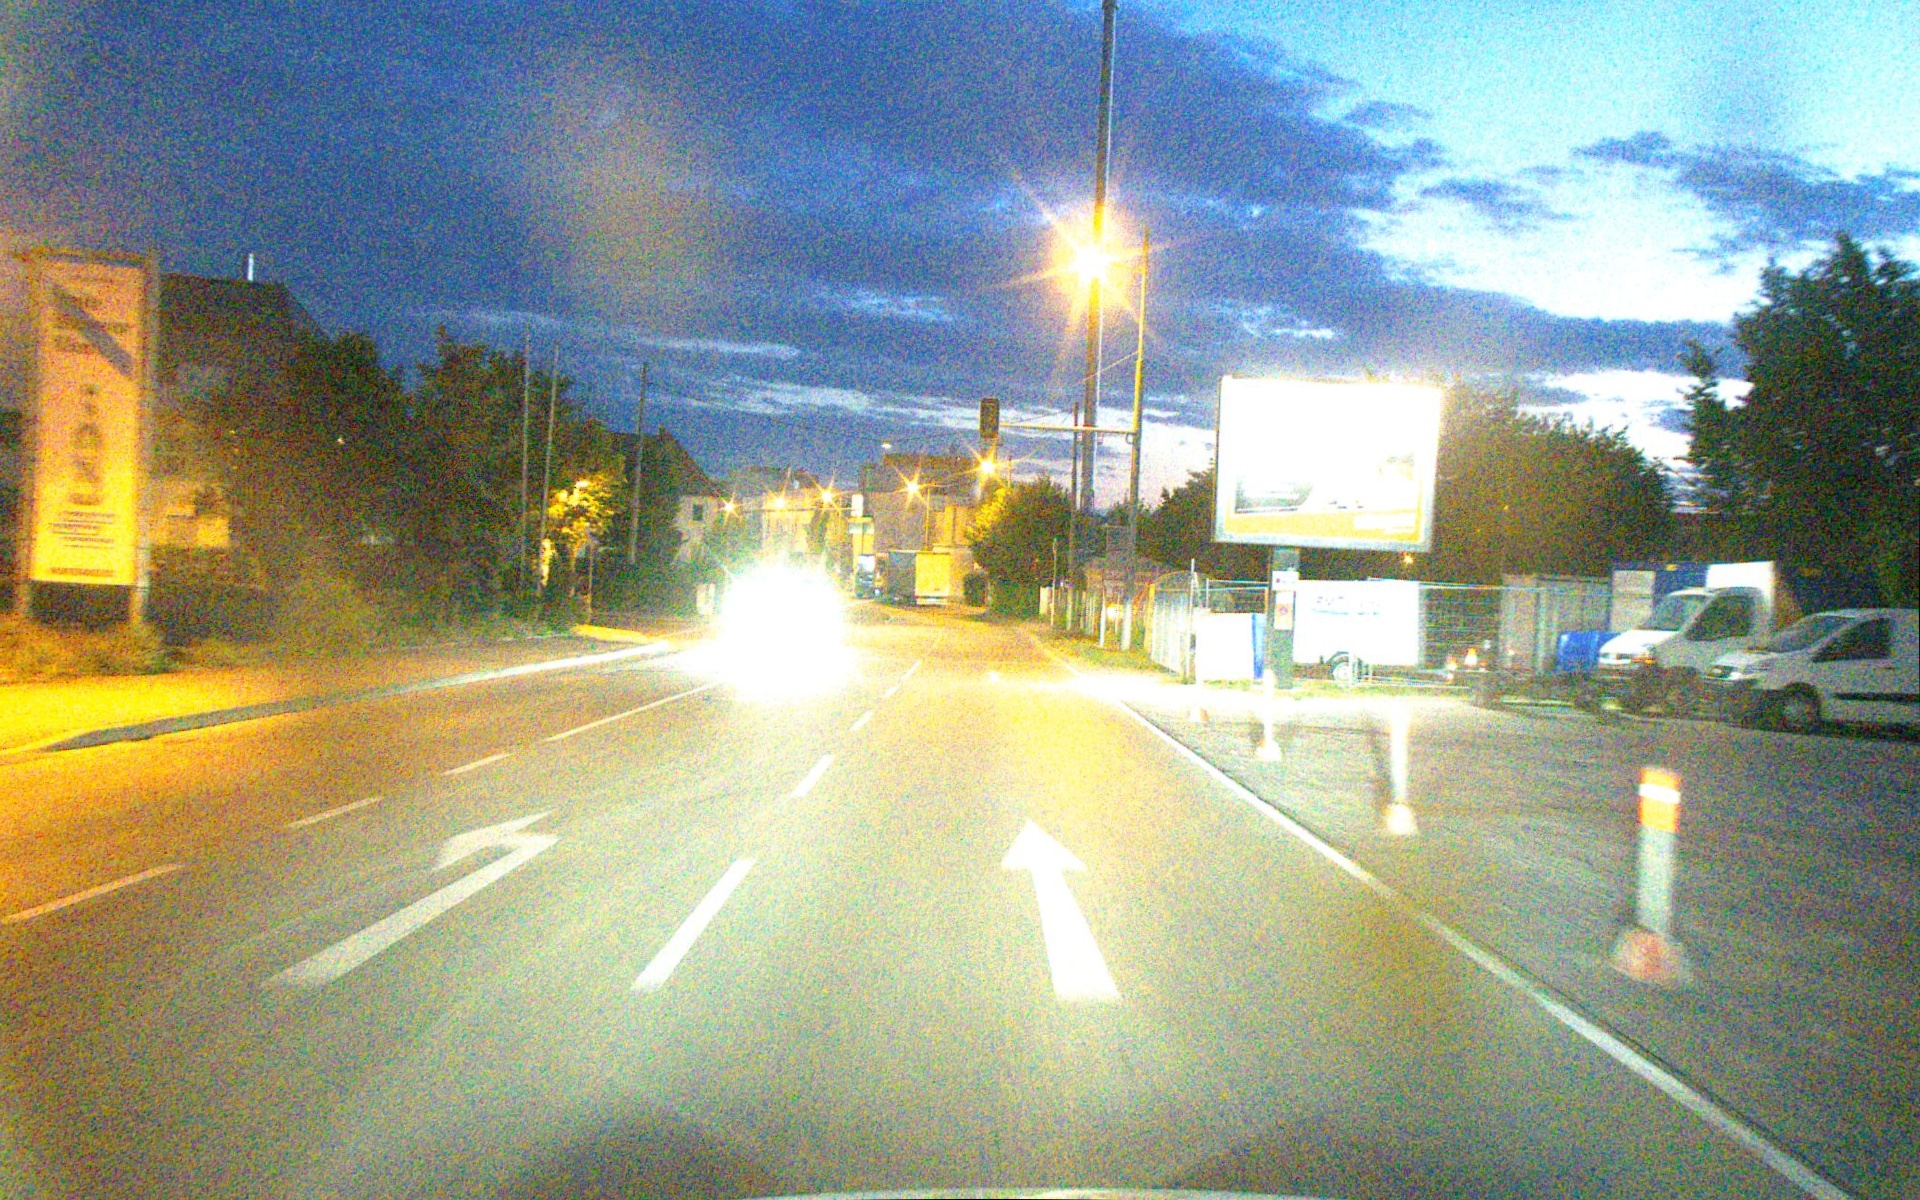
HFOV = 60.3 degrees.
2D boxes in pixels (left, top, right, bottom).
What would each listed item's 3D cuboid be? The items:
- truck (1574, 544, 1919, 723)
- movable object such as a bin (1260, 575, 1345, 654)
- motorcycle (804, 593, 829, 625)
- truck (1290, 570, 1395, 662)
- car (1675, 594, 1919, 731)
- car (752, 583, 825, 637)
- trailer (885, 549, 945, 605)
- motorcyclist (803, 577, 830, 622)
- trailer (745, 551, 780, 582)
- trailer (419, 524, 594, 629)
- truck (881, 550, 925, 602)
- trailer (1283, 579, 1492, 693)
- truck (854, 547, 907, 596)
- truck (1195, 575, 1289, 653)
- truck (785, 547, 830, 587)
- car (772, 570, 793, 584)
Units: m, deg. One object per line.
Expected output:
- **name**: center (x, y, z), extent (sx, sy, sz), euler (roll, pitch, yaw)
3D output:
- **truck**: center (13.494, 0.544, 27.674), extent (5.418, 2.645, 2.472), euler (3, 0, -1)
- **movable object such as a bin**: center (12.993, 0.511, 63.014), extent (2.182, 2.772, 3.864), euler (3, 1, -2)
- **motorcycle**: center (-6.303, 0.371, 72.475), extent (0.978, 1.327, 2.823), euler (2, 0, -6)
- **truck**: center (12.814, 0.497, 55.911), extent (2.138, 2.796, 7.319), euler (3, 0, 3)
- **car**: center (13.805, 0.955, 25.113), extent (4.968, 1.868, 1.990), euler (3, 0, 2)
- **car**: center (-5.675, 0.299, 55.236), extent (1.953, 1.655, 4.752), euler (2, 0, -1)
- **trailer**: center (-3.603, -1.867, 127.994), extent (2.757, 4.052, 13.945), euler (1, 1, -9)
- **motorcyclist**: center (-6.294, -0.033, 72.452), extent (1.112, 1.933, 0.832), euler (2, 0, -7)
- **trailer**: center (-24.440, -4.174, 204.331), extent (2.646, 3.524, 7.768), euler (3, 1, -19)
- **trailer**: center (-12.478, -0.660, 45.727), extent (4.260, 2.767, 2.000), euler (1, 1, -1)
- **truck**: center (-4.652, -1.967, 134.471), extent (2.778, 4.052, 6.038), euler (1, 1, -9)
- **trailer**: center (8.293, 0.648, 32.098), extent (3.672, 2.048, 1.614), euler (2, 1, 24)
- **truck**: center (-7.063, -2.526, 145.056), extent (2.782, 4.052, 10.307), euler (1, 1, -13)
- **truck**: center (9.758, 0.423, 57.893), extent (2.138, 2.465, 7.318), euler (3, 1, 2)
- **truck**: center (-16.430, -3.539, 177.239), extent (3.459, 4.052, 10.311), euler (1, 1, -12)
- **car**: center (-20.550, -2.712, 191.708), extent (1.822, 1.545, 3.802), euler (1, 1, -16)
